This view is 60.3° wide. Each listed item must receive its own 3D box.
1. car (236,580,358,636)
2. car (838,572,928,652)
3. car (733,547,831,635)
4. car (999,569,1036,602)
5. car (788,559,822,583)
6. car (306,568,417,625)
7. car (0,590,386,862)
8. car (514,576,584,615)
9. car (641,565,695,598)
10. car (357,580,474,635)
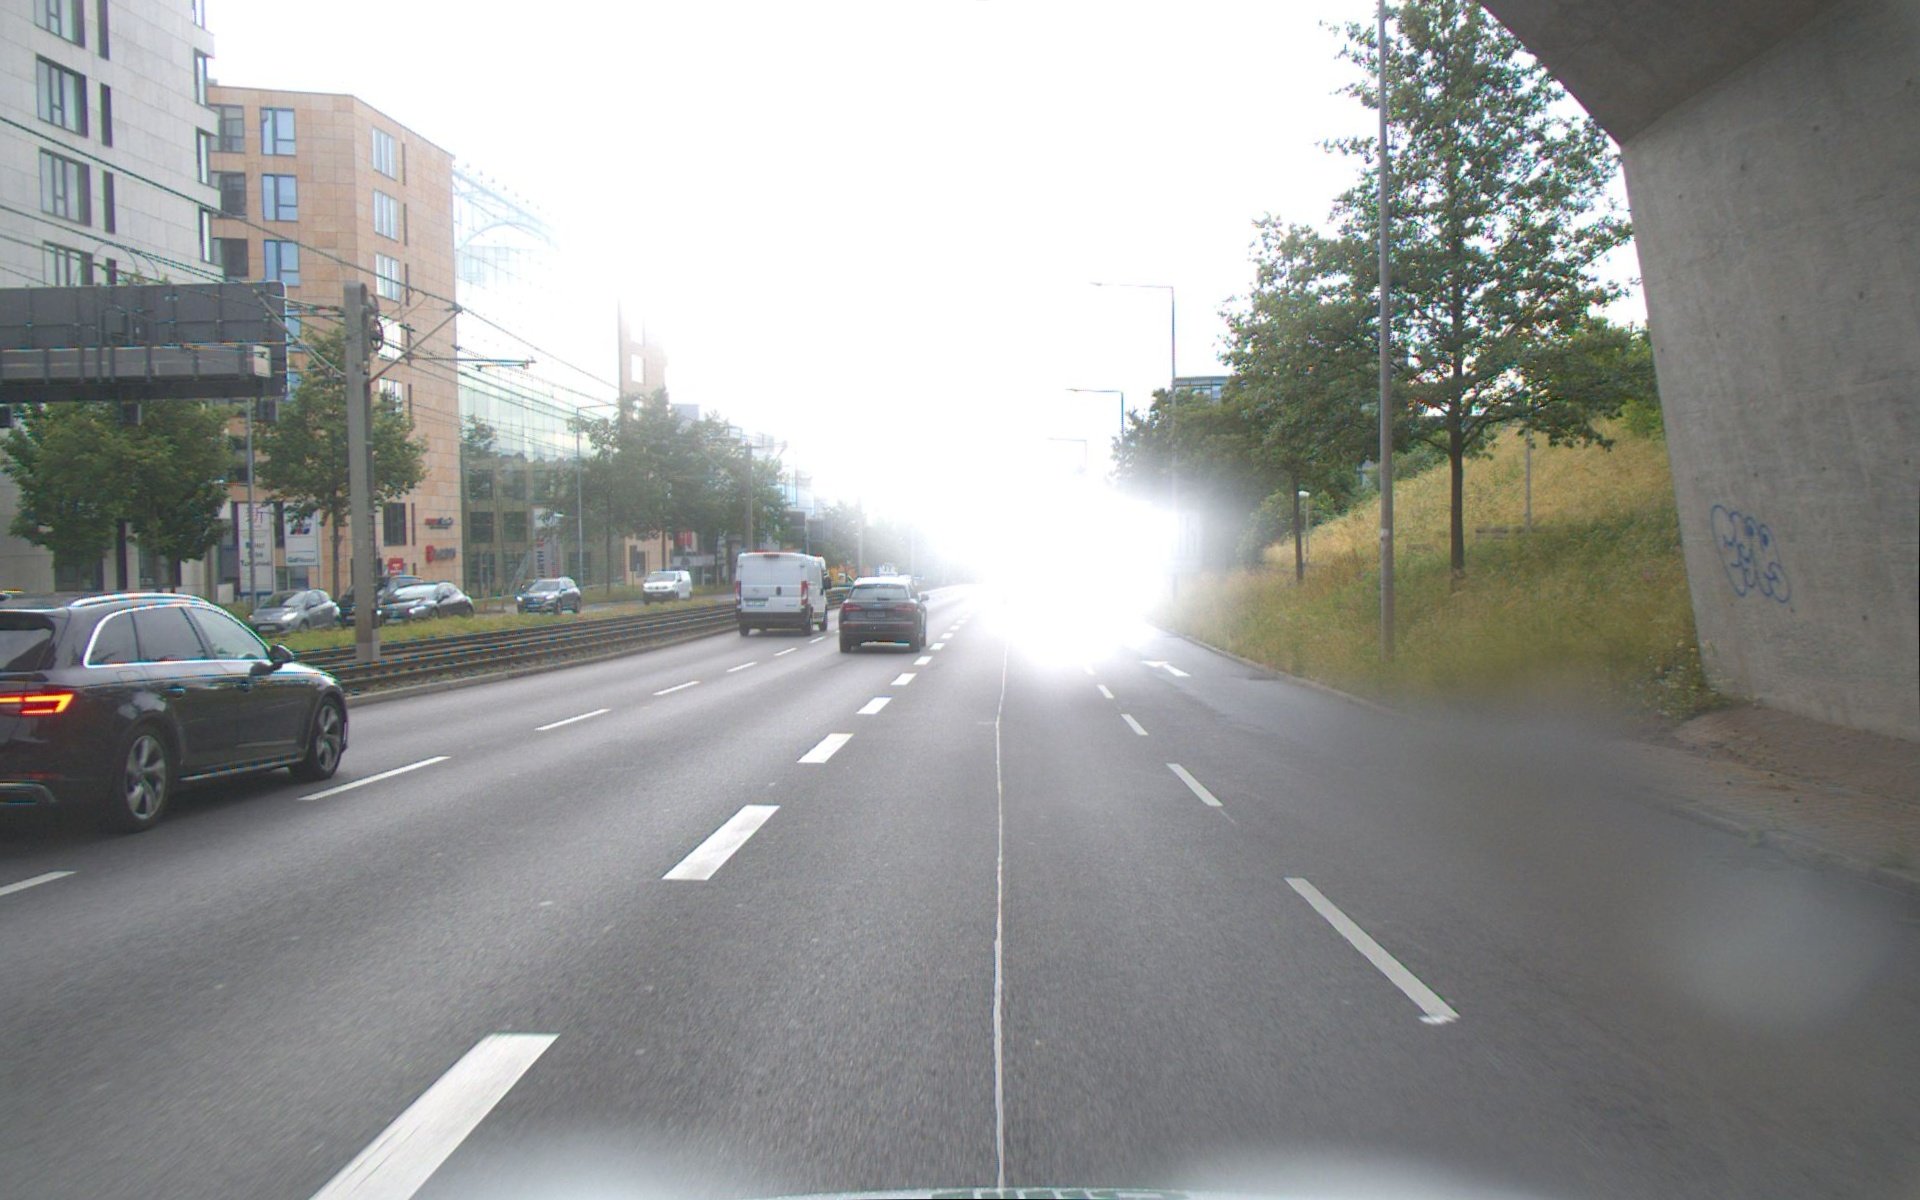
[{"bbox_3d":[-19.907,0.201,49.871,1.772,1.560,4.277,1,1,3],"label":"car"},{"bbox_3d":[-1.730,0.275,38.306,1.883,1.740,4.097,1,0,0],"label":"car"},{"bbox_3d":[-4.962,-0.287,46.781,2.221,2.324,4.760,1,1,0],"label":"car"},{"bbox_3d":[2.953,-0.758,85.447,1.753,1.618,4.000,-1,0,0],"label":"car"},{"bbox_3d":[-11.771,-2.190,125.915,1.897,1.792,4.812,1,1,3],"label":"car"},{"bbox_3d":[-22.126,-0.176,61.354,2.016,1.986,5.135,1,1,3],"label":"car"},{"bbox_3d":[-5.659,0.662,11.205,1.749,1.438,4.807,1,0,1],"label":"car"},{"bbox_3d":[-18.366,-0.243,74.103,1.772,1.634,4.493,1,1,3],"label":"car"},{"bbox_3d":[-16.657,-1.086,94.561,1.897,1.792,5.064,1,1,3],"label":"car"},{"bbox_3d":[-16.692,0.195,50.929,1.772,1.560,4.872,1,1,3],"label":"car"}]
